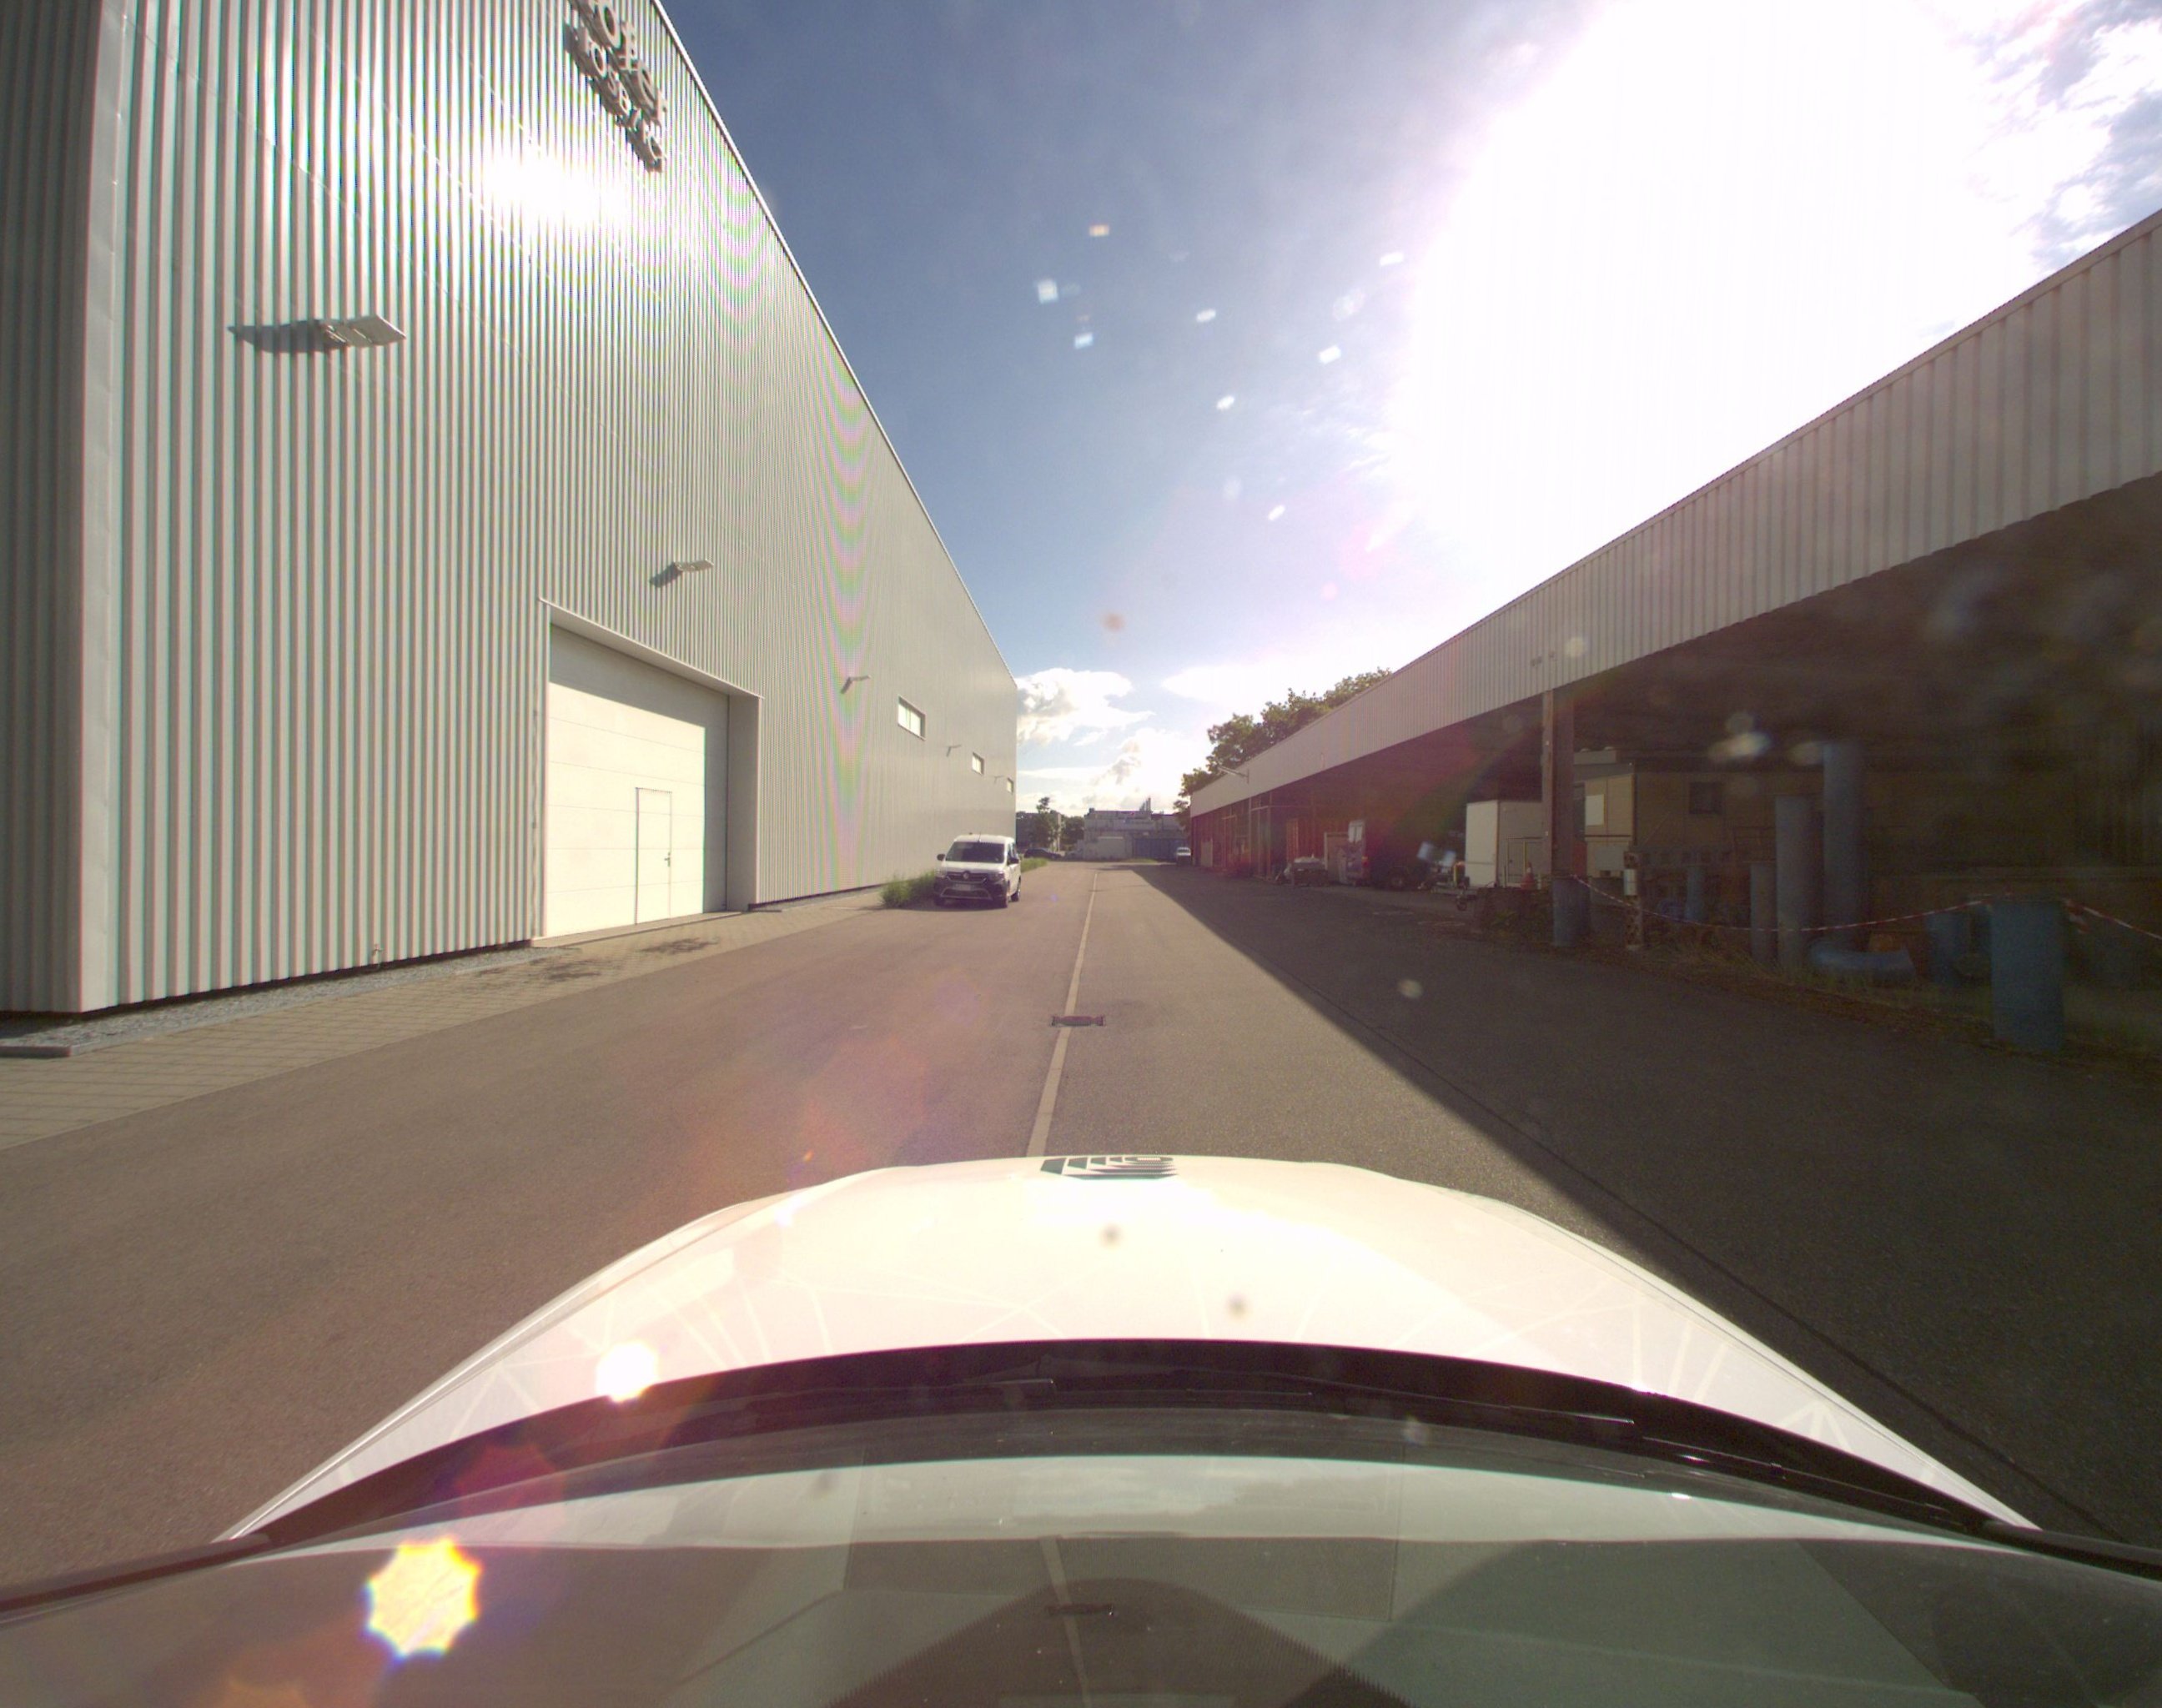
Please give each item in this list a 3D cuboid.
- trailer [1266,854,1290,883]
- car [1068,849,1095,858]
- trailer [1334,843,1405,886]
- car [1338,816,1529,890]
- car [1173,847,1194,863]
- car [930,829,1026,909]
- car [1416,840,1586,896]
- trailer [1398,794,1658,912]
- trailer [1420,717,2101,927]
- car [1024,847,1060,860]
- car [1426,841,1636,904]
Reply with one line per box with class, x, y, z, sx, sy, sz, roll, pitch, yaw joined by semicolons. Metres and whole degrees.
trailer;7.779;0.551;32.242;0.550;1.118;1.546;-1;0;0
car;0.027;-0.053;131.310;4.288;1.457;1.824;-1;0;0
trailer;10.277;0.363;29.096;2.028;1.466;1.741;-1;0;5
car;11.326;-0.026;26.467;5.314;2.281;2.153;0;0;0
car;11.391;0.105;90.783;1.971;1.602;4.381;-1;1;3
car;-2.584;0.355;21.458;1.777;1.816;4.602;2;0;1
car;11.924;0.383;23.304;3.953;1.514;1.839;0;0;-2
trailer;9.534;-0.015;17.694;4.498;2.342;2.048;-1;0;2
trailer;12.026;-0.540;15.160;10.230;3.343;2.802;-1;0;1
car;-4.904;-0.037;103.474;4.432;1.531;1.824;-1;0;0
car;11.077;0.417;20.230;4.237;1.471;1.869;0;0;-2
